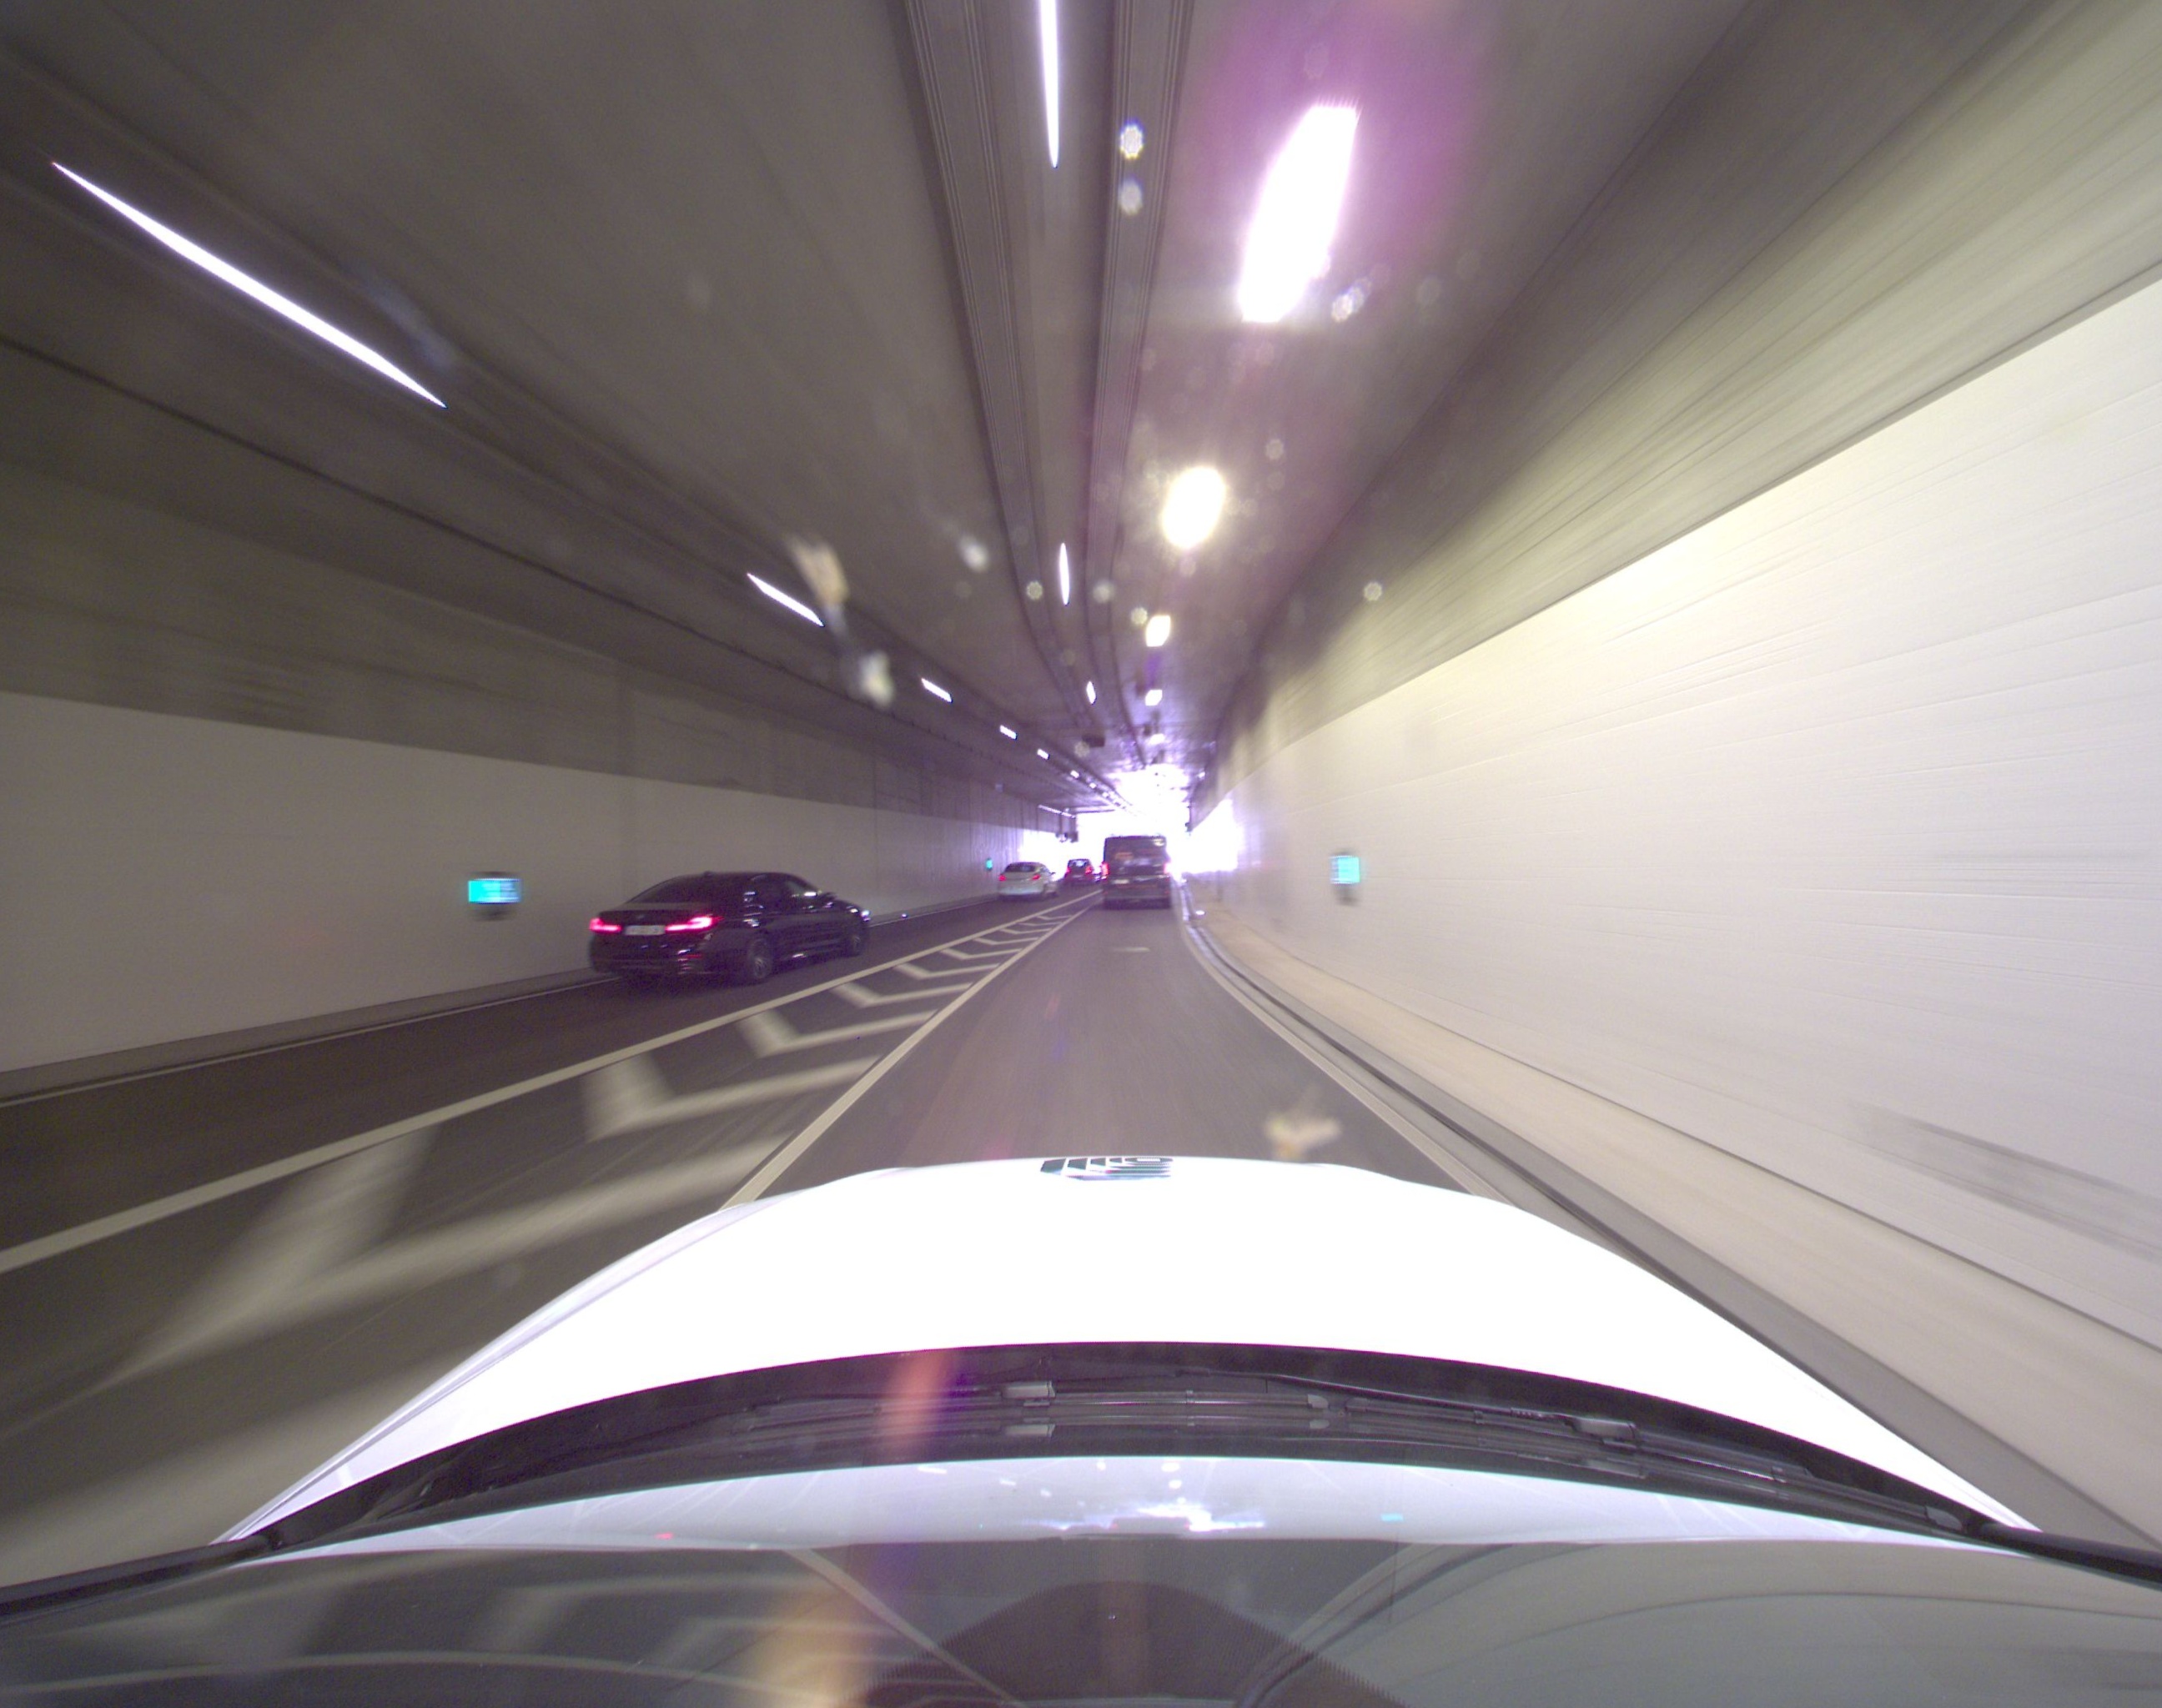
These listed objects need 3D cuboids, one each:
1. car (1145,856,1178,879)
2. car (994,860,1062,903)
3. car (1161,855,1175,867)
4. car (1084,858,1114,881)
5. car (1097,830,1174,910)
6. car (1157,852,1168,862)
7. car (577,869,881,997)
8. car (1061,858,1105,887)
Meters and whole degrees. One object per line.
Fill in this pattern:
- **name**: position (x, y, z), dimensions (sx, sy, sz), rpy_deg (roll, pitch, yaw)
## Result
- **car**: position (5.731, 0.929, 57.335), dimensions (2.073, 1.514, 4.646), rpy_deg (-2, -1, 8)
- **car**: position (-1.907, 0.996, 30.614), dimensions (1.699, 1.413, 3.984), rpy_deg (-1, 0, 8)
- **car**: position (12.397, 1.046, 115.887), dimensions (1.867, 1.625, 4.226), rpy_deg (-1, -2, 5)
- **car**: position (1.373, 1.144, 59.647), dimensions (1.867, 1.582, 4.226), rpy_deg (-1, -2, 5)
- **car**: position (1.832, 0.481, 25.831), dimensions (2.147, 2.266, 4.645), rpy_deg (-1, 0, 7)
- **car**: position (14.373, 0.505, 143.425), dimensions (1.867, 1.625, 4.226), rpy_deg (-1, -2, 5)
- **car**: position (-4.699, 0.946, 11.854), dimensions (1.686, 1.422, 4.863), rpy_deg (0, -1, 9)
- **car**: position (0.155, 0.993, 44.745), dimensions (1.804, 1.512, 4.231), rpy_deg (-1, 0, 9)
